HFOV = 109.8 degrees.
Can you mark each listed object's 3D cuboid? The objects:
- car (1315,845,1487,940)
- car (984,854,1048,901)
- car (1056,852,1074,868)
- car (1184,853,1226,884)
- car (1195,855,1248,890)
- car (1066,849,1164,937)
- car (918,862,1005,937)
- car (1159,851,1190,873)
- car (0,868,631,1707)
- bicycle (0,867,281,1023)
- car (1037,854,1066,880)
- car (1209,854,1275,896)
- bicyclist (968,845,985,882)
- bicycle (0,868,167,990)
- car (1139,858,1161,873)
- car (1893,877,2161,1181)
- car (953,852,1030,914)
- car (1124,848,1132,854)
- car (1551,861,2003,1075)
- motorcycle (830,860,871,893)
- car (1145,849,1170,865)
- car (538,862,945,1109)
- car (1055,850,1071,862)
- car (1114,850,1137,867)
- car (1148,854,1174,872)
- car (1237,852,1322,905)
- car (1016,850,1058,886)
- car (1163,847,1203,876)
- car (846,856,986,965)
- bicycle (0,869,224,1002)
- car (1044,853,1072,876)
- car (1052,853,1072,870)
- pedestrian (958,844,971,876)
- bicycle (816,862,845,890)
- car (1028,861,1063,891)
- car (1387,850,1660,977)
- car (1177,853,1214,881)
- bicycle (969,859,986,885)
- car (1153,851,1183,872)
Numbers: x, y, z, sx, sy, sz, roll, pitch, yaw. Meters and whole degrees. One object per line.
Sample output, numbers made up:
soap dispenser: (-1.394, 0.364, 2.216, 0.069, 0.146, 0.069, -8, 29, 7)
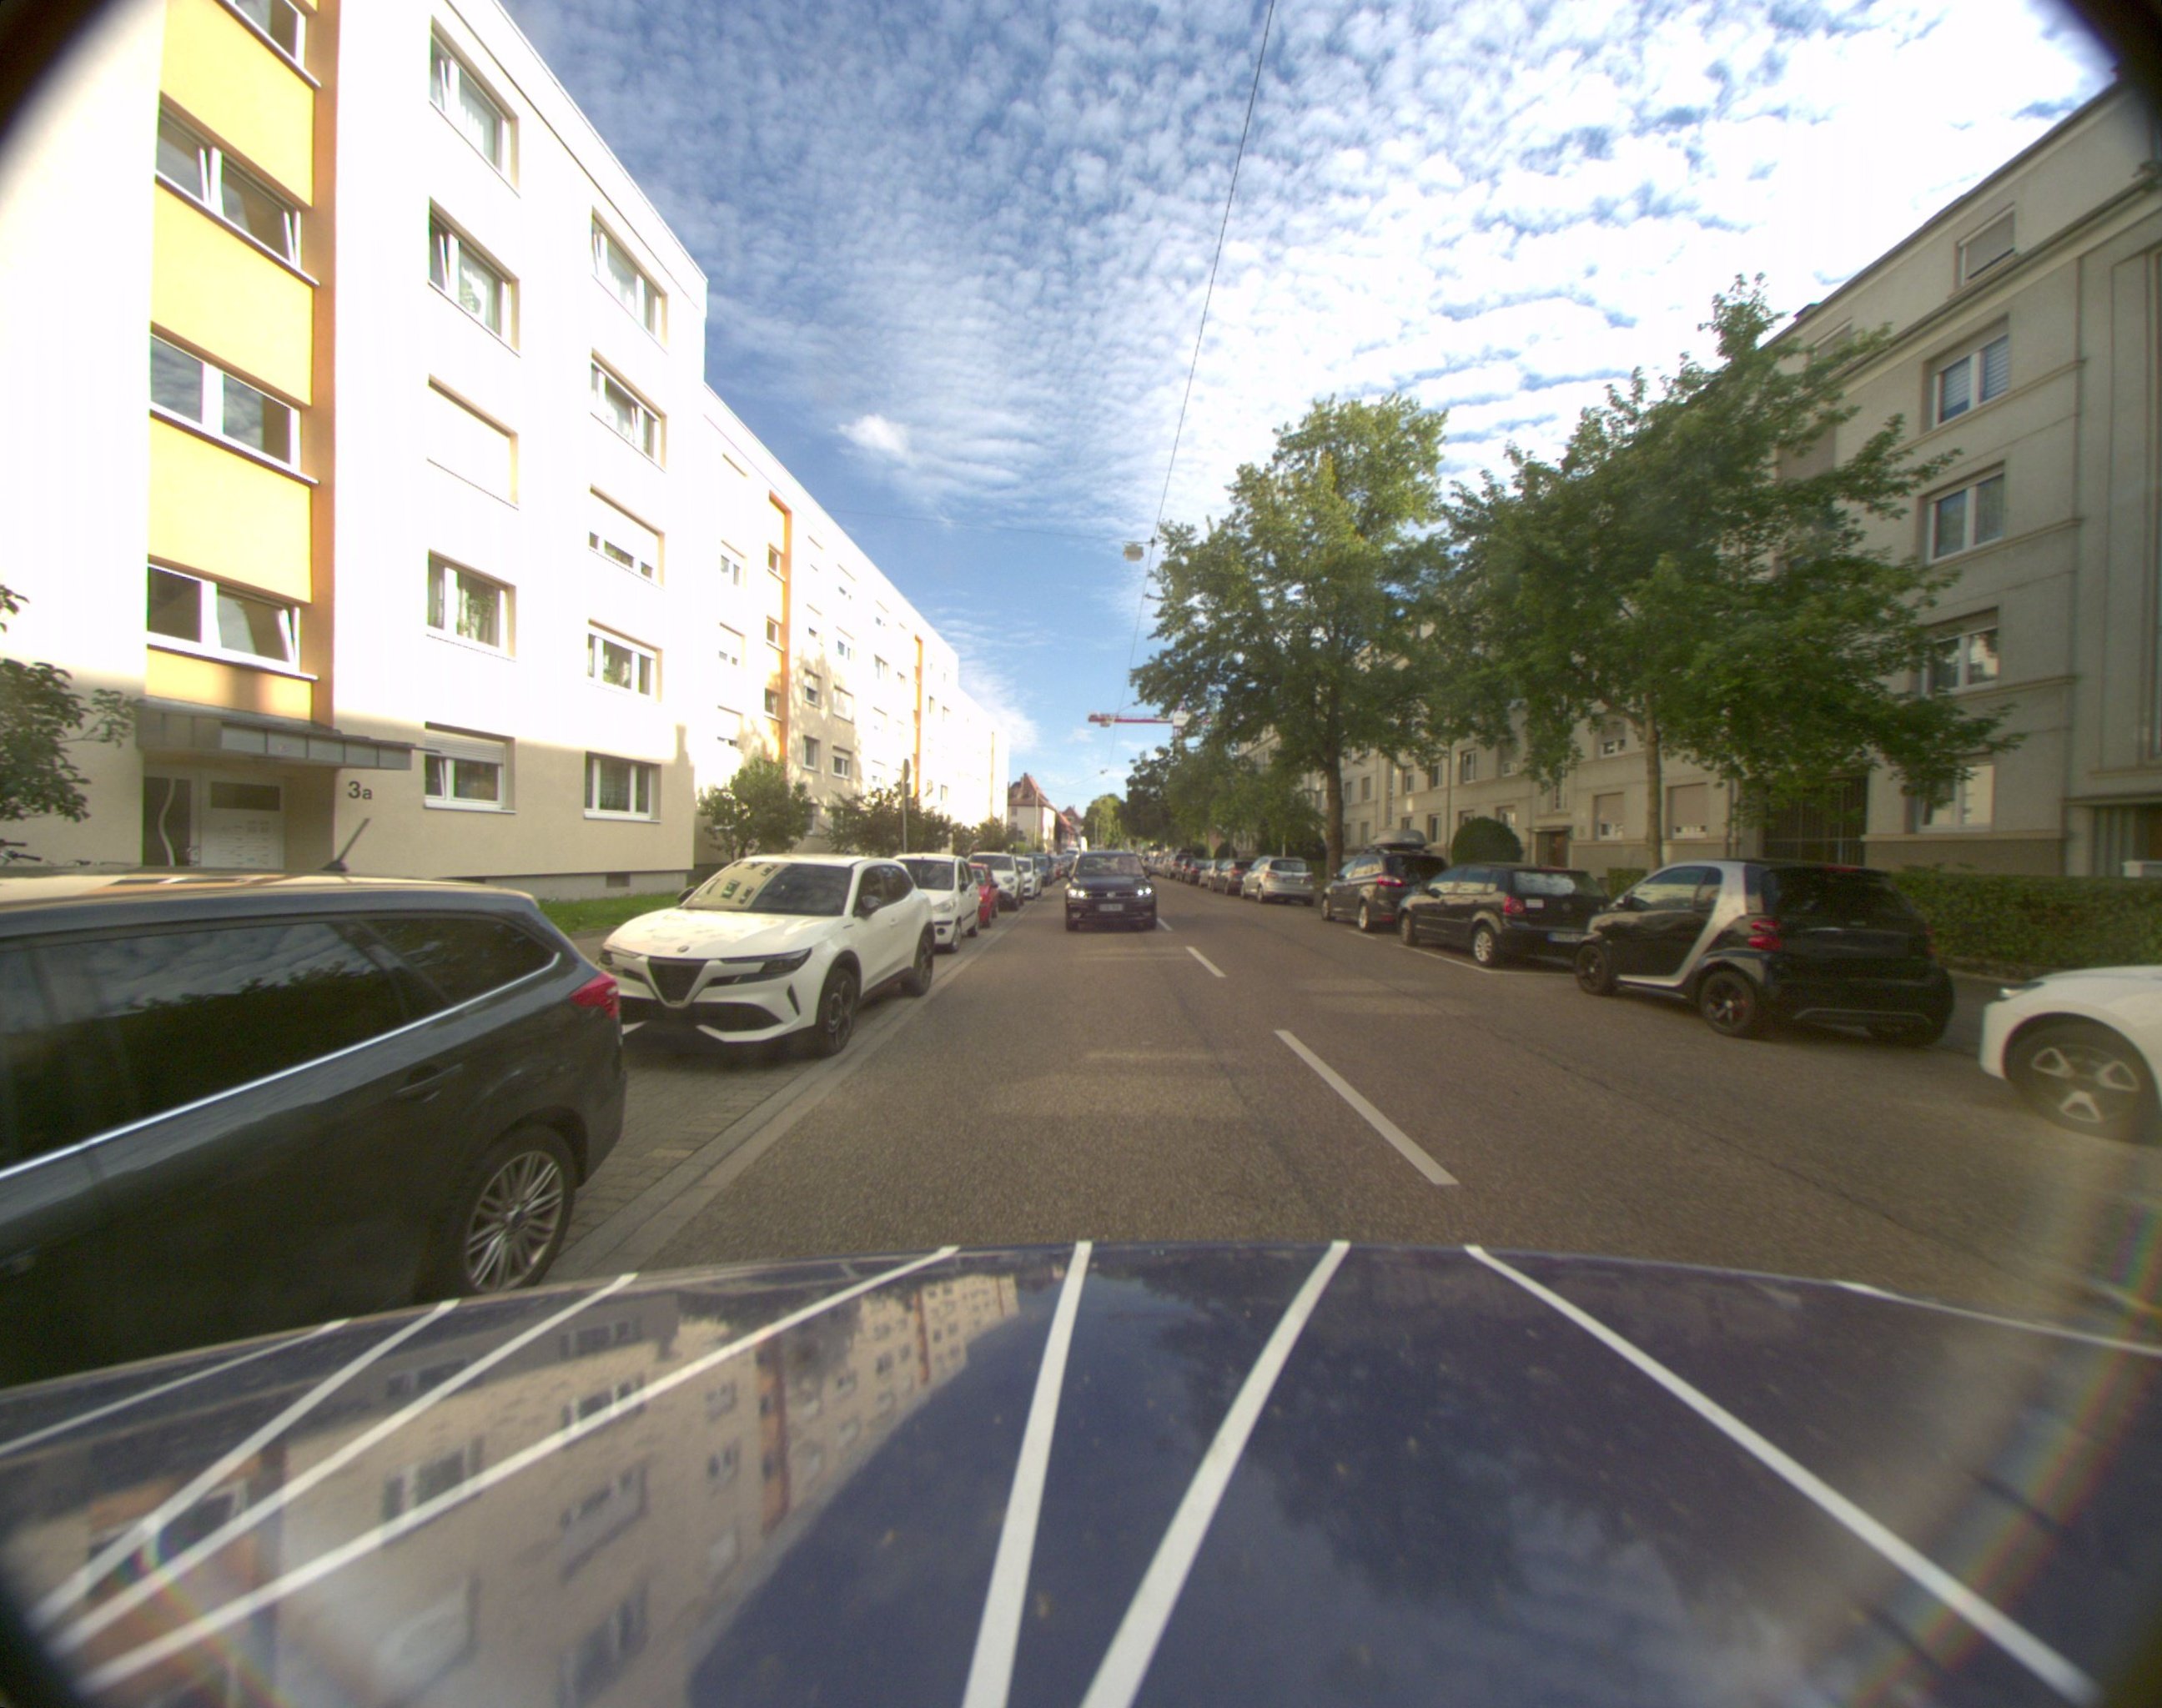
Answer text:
car: (6.591, 0.704, 16.259, 1.803, 1.658, 4.483, 3, 0, 2)
car: (-2.306, 0.790, 27.994, 1.732, 1.479, 4.642, 2, 1, 2)
car: (-1.593, 0.590, 76.240, 1.688, 1.492, 3.873, 2, 0, 0)
car: (6.669, 0.747, 41.232, 1.689, 1.472, 4.452, 5, 1, 4)
car: (6.511, 0.814, 35.484, 1.604, 1.410, 3.963, 4, 0, -1)
car: (0.722, 0.743, 16.536, 1.859, 1.673, 4.000, 0, 0, 2)
car: (-2.600, 0.945, 17.226, 1.519, 1.390, 3.675, 2, 1, -3)
car: (7.025, 0.574, 57.619, 1.860, 1.564, 4.460, 3, 0, 2)
car: (-2.694, 0.852, 0.987, 1.694, 1.519, 4.237, 2, 0, 0)
bicycle: (-8.990, 0.755, 7.104, 0.598, 1.180, 2.209, 4, 0, 1)
car: (-1.867, 0.785, 48.506, 1.733, 1.506, 4.190, 2, 1, -2)
car: (6.442, 0.799, 30.807, 1.618, 1.460, 4.013, 4, 0, -1)
bicyclist: (-4.787, 0.412, 34.973, 0.625, 1.668, 0.893, 1, 1, 0)
bicycle: (-10.431, 0.720, 7.318, 0.530, 1.108, 2.209, 2, 0, 1)
car: (7.433, 1.227, 82.204, 1.860, 1.477, 4.798, 5, 0, 1)
car: (6.231, 0.934, 2.931, 1.698, 1.484, 4.333, 3, 0, 4)
car: (-2.504, 0.758, 22.133, 1.733, 1.571, 4.116, 2, 1, -1)
car: (13.301, -0.812, 215.355, 1.834, 1.659, 4.084, -2, 1, 1)
car: (6.246, 0.879, 7.320, 1.556, 1.511, 3.016, 4, 0, 2)
motorcycle: (-7.847, 0.748, 25.956, 0.632, 1.038, 2.394, 3, 0, 0)
car: (7.540, 0.312, 75.032, 1.860, 1.477, 4.683, 2, 0, -1)
car: (-2.628, 0.882, 7.116, 1.693, 1.519, 4.238, 1, 0, 3)
car: (-2.358, 0.285, 98.186, 1.767, 1.515, 4.330, 0, 0, 3)
car: (4.010, 0.406, 68.979, 1.863, 1.520, 4.011, 1, 0, 2)
car: (7.111, 0.773, 68.075, 1.742, 1.385, 4.665, 4, 0, 0)
car: (6.635, 0.770, 25.868, 1.743, 1.611, 3.994, 3, 0, -1)
car: (-2.182, 0.659, 38.335, 1.733, 1.640, 4.116, 3, 1, 1)
car: (6.852, 0.487, 51.526, 1.882, 1.782, 4.970, 3, 0, 0)
car: (-2.681, 0.850, 13.065, 1.555, 1.548, 3.468, 3, 0, 0)
bicycle: (-9.809, 0.740, 7.300, 0.598, 1.108, 2.209, 3, 0, 1)
car: (-1.601, 0.711, 53.890, 1.666, 1.408, 4.059, 3, 1, 2)
car: (-1.763, 0.649, 70.992, 1.704, 1.455, 4.179, 2, 0, -1)
pedestrian: (-6.346, 0.333, 41.472, 0.543, 1.711, 0.771, 0, 1, 6)
bicycle: (-8.755, 0.751, 26.598, 0.460, 0.936, 1.517, 2, 0, 0)
car: (-1.994, 1.212, 43.254, 1.733, 1.452, 4.116, 2, 1, 0)
car: (6.274, 0.735, 11.366, 1.704, 1.478, 3.847, 3, 0, -1)
car: (6.912, 0.751, 46.212, 1.689, 1.472, 4.119, 5, 1, 2)
bicycle: (-4.776, 0.820, 35.092, 0.525, 1.128, 1.929, 1, 1, 0)
car: (7.102, 0.582, 62.678, 1.860, 1.477, 4.944, 4, 0, 1)
